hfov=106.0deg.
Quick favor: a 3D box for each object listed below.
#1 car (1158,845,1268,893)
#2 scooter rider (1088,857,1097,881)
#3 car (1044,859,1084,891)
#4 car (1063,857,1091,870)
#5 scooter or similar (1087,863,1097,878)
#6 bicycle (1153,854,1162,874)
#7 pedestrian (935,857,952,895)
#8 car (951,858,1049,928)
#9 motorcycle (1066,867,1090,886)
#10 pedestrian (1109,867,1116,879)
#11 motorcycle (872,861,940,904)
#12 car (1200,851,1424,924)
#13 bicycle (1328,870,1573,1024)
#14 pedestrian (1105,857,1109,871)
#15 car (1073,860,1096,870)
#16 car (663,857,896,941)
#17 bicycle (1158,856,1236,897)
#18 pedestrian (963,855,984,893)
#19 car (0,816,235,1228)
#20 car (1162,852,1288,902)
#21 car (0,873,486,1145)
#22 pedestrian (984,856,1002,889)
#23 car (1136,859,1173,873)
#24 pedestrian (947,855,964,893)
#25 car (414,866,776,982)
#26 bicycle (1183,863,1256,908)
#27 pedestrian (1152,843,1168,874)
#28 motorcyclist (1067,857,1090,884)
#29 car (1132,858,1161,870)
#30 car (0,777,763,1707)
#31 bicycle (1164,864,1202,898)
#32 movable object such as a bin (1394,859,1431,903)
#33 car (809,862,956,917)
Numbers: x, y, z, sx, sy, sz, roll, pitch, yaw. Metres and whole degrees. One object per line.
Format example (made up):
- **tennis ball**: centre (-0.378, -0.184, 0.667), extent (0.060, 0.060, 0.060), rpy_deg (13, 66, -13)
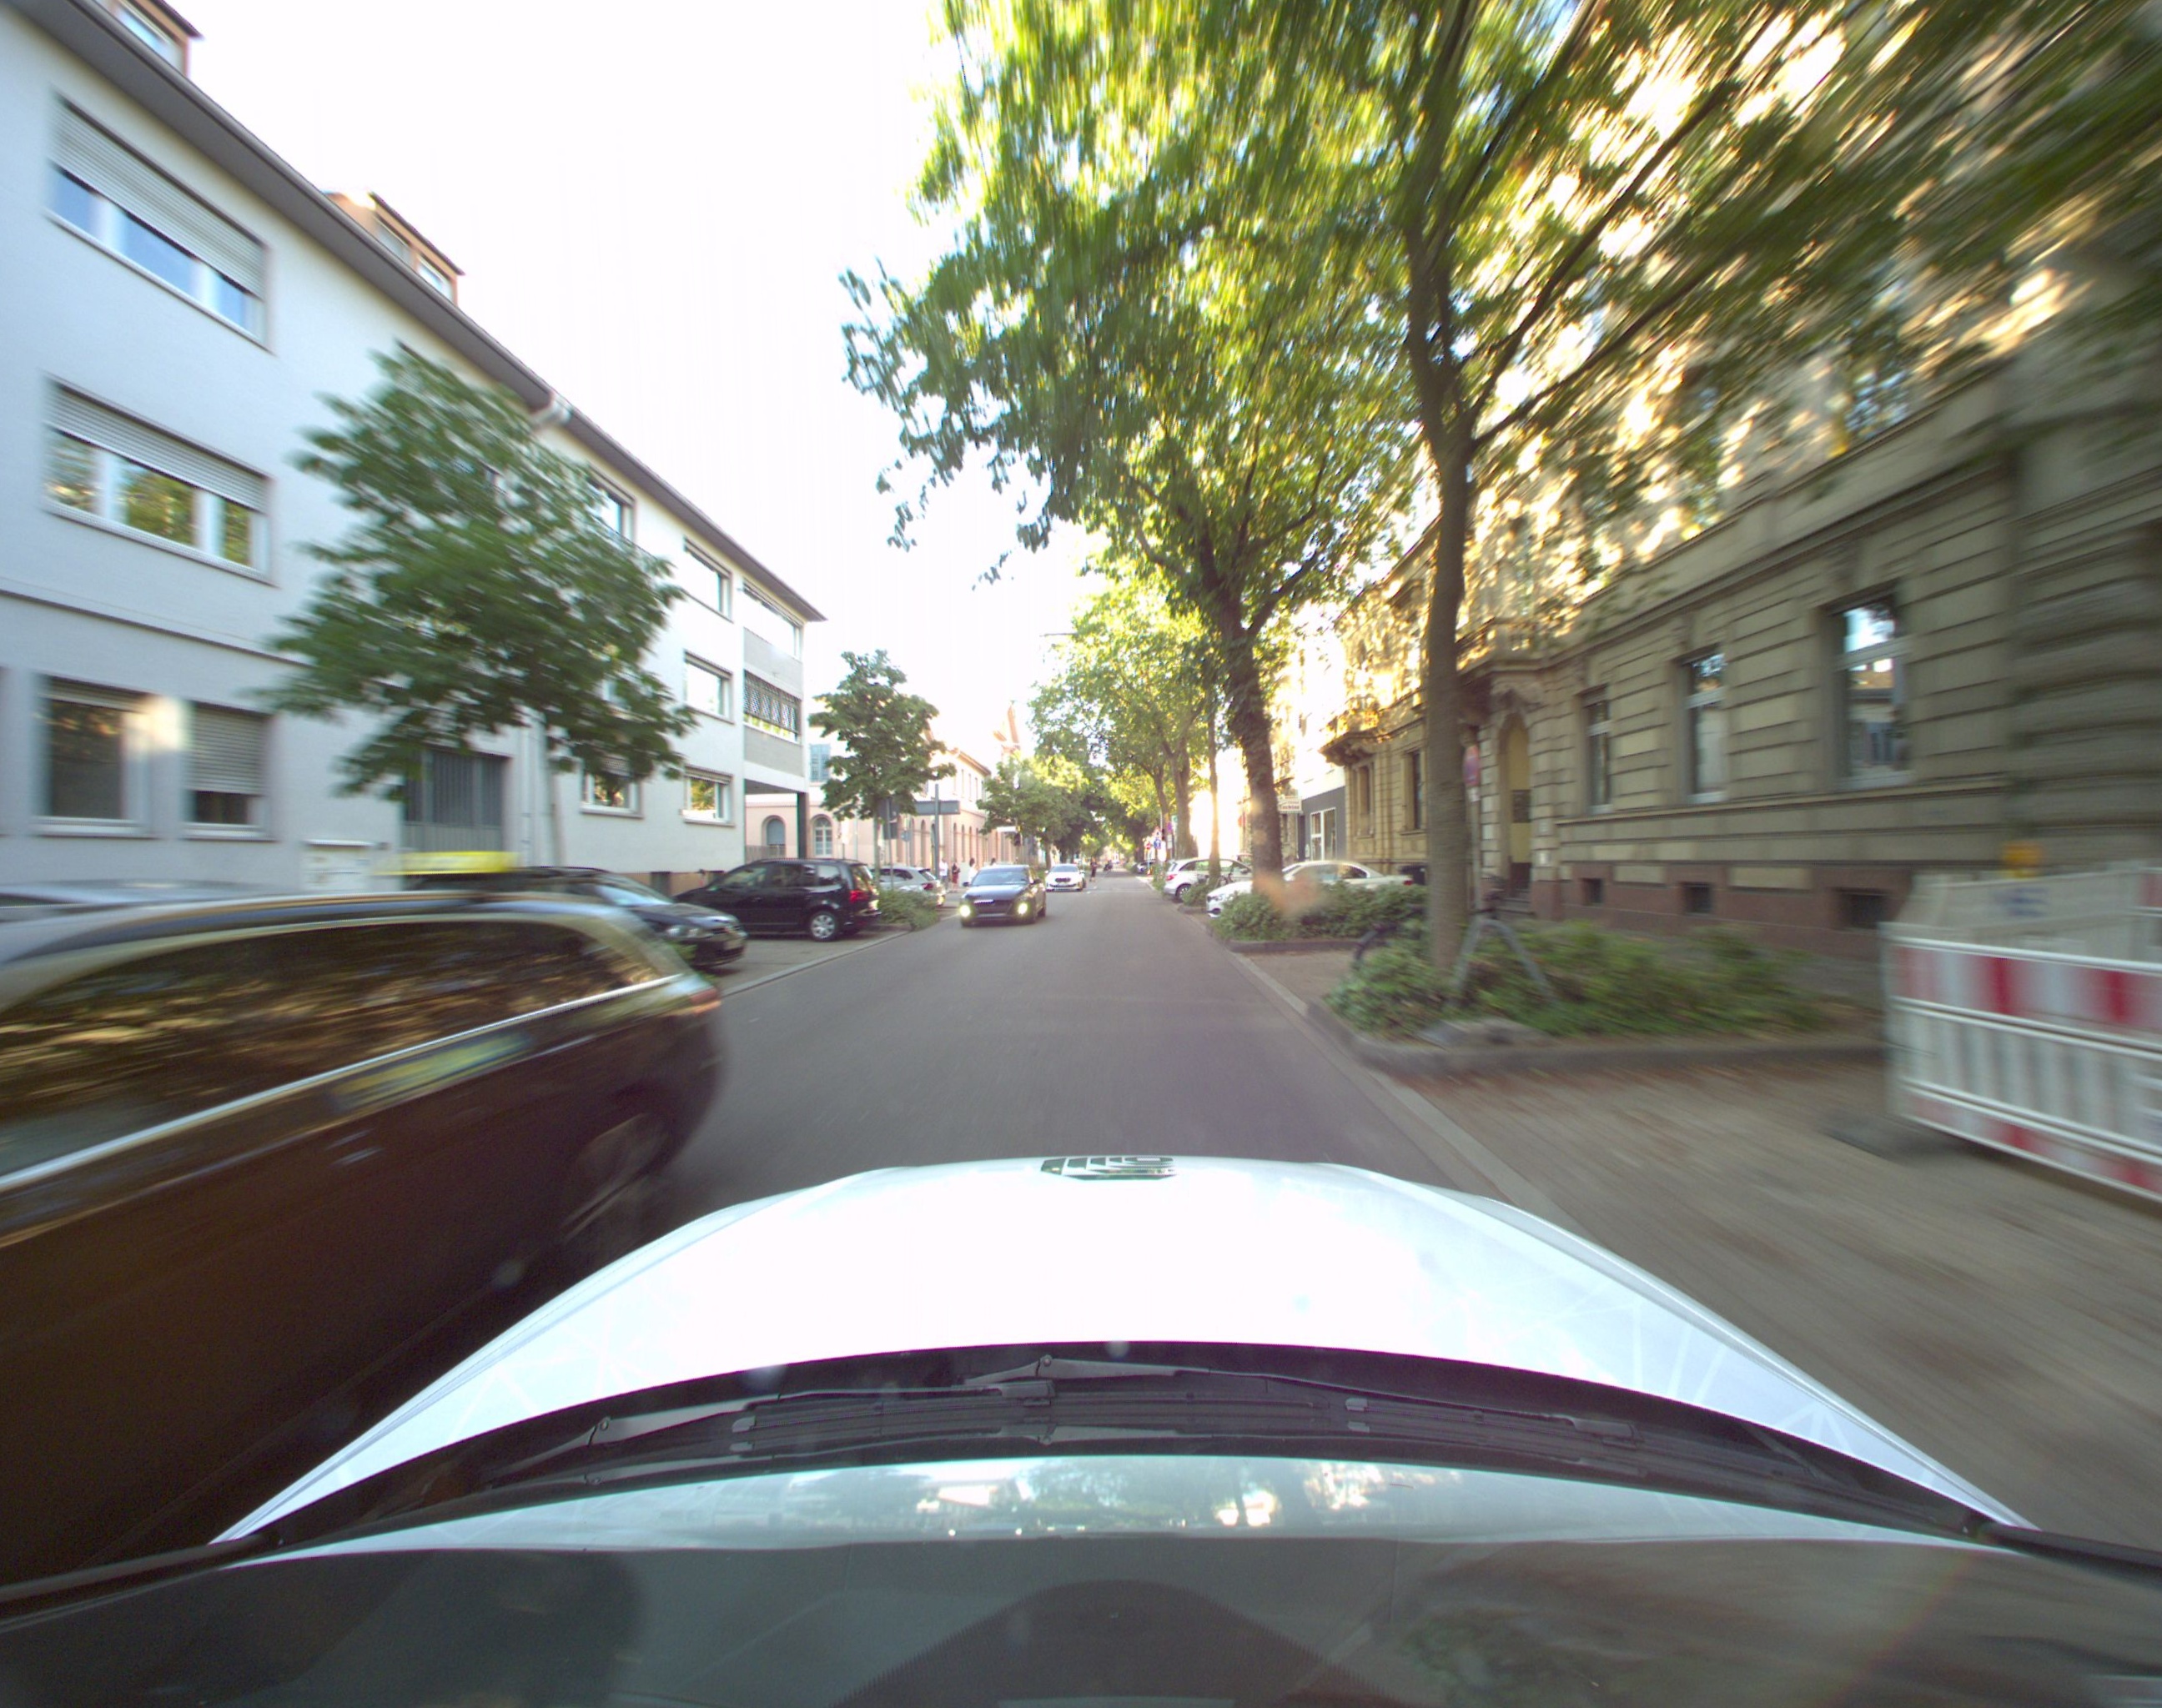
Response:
- **car**: centre (5.818, 0.665, 36.326), extent (4.525, 1.915, 1.950), rpy_deg (-2, -1, 0)
- **scooter rider**: centre (0.876, 1.132, 62.178), extent (0.491, 1.791, 0.877), rpy_deg (-2, -2, 12)
- **car**: centre (-0.836, 1.053, 42.476), extent (1.870, 1.549, 4.276), rpy_deg (-2, 0, 1)
- **car**: centre (-0.727, 1.755, 149.161), extent (5.045, 2.083, 2.264), rpy_deg (-2, -1, 2)
- **scooter or similar**: centre (0.868, 1.235, 62.130), extent (0.498, 1.145, 1.254), rpy_deg (-2, -1, 13)
- **bicycle**: centre (5.386, 0.728, 57.585), extent (0.413, 1.372, 1.293), rpy_deg (-2, -1, 14)
- **pedestrian**: centre (-6.742, 1.063, 39.994), extent (0.549, 1.850, 0.614), rpy_deg (-2, -1, 17)
- **car**: centre (-1.949, 0.911, 20.933), extent (1.869, 1.549, 4.277), rpy_deg (-2, 0, 2)
- **motorcycle**: centre (-0.152, 1.391, 48.974), extent (1.306, 1.090, 2.397), rpy_deg (-1, -3, 3)
- **pedestrian**: centre (4.519, 2.735, 115.802), extent (0.870, 1.650, 0.656), rpy_deg (-1, -1, 10)
- **motorcycle**: centre (-6.137, 0.996, 28.552), extent (2.129, 1.419, 0.973), rpy_deg (-2, -1, 23)
- **car**: centre (5.077, 0.730, 18.438), extent (4.563, 1.437, 1.927), rpy_deg (-2, 0, 4)
- **bicycle**: centre (3.381, 0.832, 7.533), extent (2.039, 1.360, 0.508), rpy_deg (0, 0, 0)
- **pedestrian**: centre (3.668, 1.466, 115.381), extent (0.500, 2.014, 0.621), rpy_deg (0, -1, 4)
- **car**: centre (0.788, 2.469, 185.467), extent (5.043, 2.083, 2.265), rpy_deg (-2, -1, 3)
- **car**: centre (-6.158, 0.897, 16.949), extent (4.075, 1.632, 1.938), rpy_deg (0, -1, 3)
- **bicycle**: centre (4.778, 0.914, 33.543), extent (3.105, 1.663, 0.658), rpy_deg (0, -1, -2)
- **pedestrian**: centre (-5.184, 0.971, 39.356), extent (0.786, 1.791, 0.772), rpy_deg (1, 0, 5)
- **car**: centre (-6.959, 0.725, 3.384), extent (4.648, 1.765, 2.157), rpy_deg (0, -1, 1)
- **car**: centre (4.988, 0.794, 28.732), extent (4.204, 1.560, 1.974), rpy_deg (-2, 0, 5)
- **car**: centre (-6.852, 0.922, 5.790), extent (4.009, 1.494, 1.783), rpy_deg (1, 0, 6)
- **pedestrian**: centre (-4.651, 0.970, 42.806), extent (0.843, 1.738, 0.773), rpy_deg (0, -1, -15)
- **car**: centre (8.496, 1.370, 94.881), extent (4.176, 1.480, 1.853), rpy_deg (-3, -1, 2)
- **pedestrian**: centre (-6.113, 0.966, 39.753), extent (0.550, 1.850, 0.614), rpy_deg (-1, 1, 17)
- **car**: centre (-6.699, 0.924, 11.510), extent (4.057, 1.440, 1.756), rpy_deg (1, 0, 3)
- **bicycle**: centre (4.073, 0.923, 24.014), extent (2.020, 1.204, 0.487), rpy_deg (-3, -1, -10)
- **pedestrian**: centre (5.657, 0.332, 58.455), extent (1.039, 2.146, 1.064), rpy_deg (0, -1, 3)
- **motorcyclist**: centre (-0.155, 0.985, 49.056), extent (1.275, 1.592, 1.078), rpy_deg (-1, -1, 2)
- **car**: centre (9.260, 1.379, 116.001), extent (4.000, 1.623, 1.781), rpy_deg (-2, -1, 1)
- **car**: centre (-2.631, 0.733, 1.800), extent (1.870, 1.640, 4.647), rpy_deg (-2, 0, 1)
- **bicycle**: centre (3.825, 1.019, 30.602), extent (1.332, 1.204, 0.488), rpy_deg (-2, -1, 1)
- **movable object such as a bin**: centre (8.458, 0.689, 20.813), extent (0.655, 1.064, 0.615), rpy_deg (-3, -1, 2)
- **car**: centre (-5.608, 0.995, 23.289), extent (3.727, 1.458, 1.735), rpy_deg (1, 0, 1)
